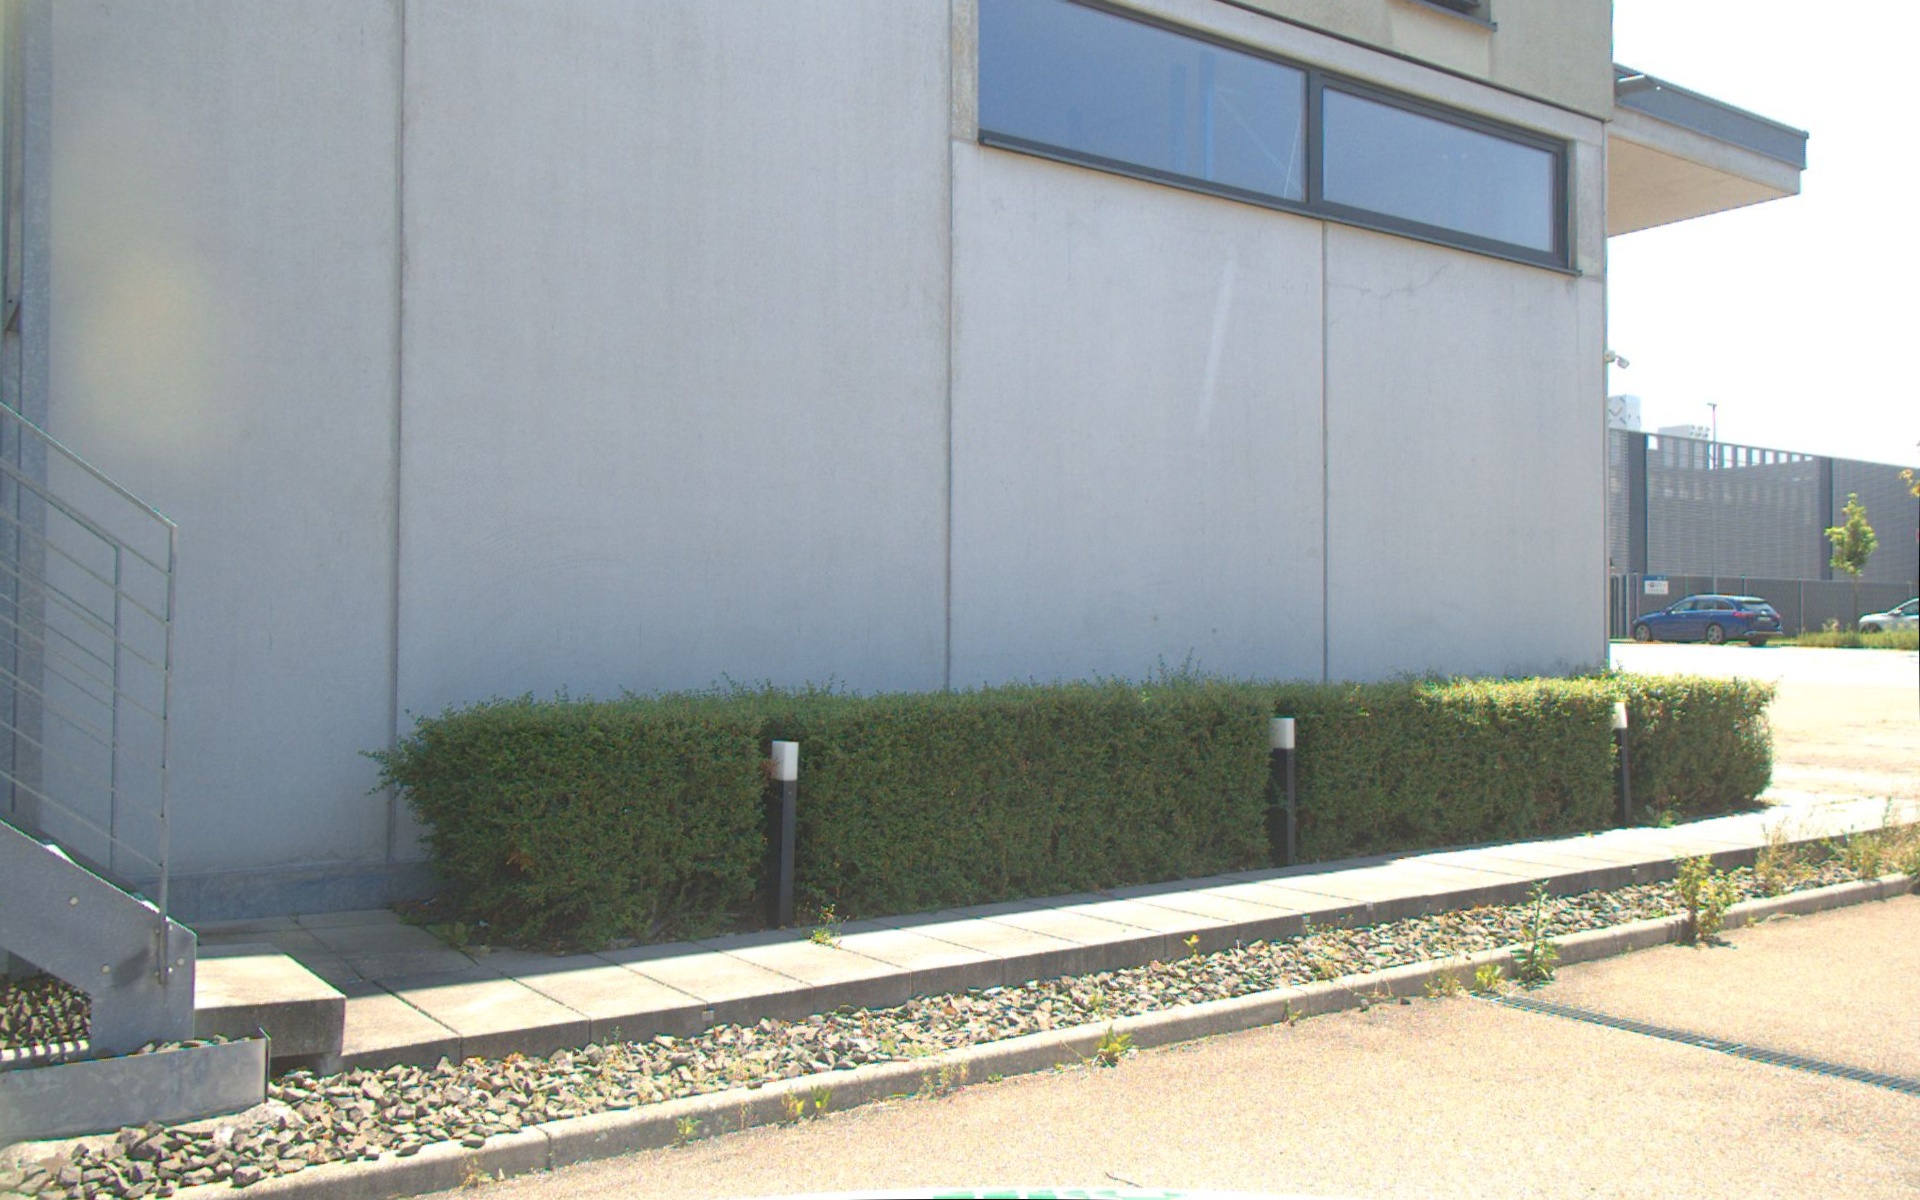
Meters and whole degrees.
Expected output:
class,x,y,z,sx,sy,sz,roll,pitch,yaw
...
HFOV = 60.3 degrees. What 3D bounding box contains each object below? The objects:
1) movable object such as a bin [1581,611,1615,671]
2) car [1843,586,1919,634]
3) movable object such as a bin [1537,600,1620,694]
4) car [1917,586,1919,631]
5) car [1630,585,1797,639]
class,x,y,z,sx,sy,sz,roll,pitch,yaw
movable object such as a bin,11.311,0.718,29.331,0.565,1.054,0.425,0,-1,22
car,31.261,0.315,53.355,1.965,1.517,4.824,-1,1,-21
movable object such as a bin,9.275,0.690,24.816,0.872,1.368,0.805,0,-1,-30
car,34.181,0.308,54.127,1.965,1.517,4.824,-1,1,-21
car,22.444,0.322,49.438,1.965,1.517,4.486,-1,1,-21
